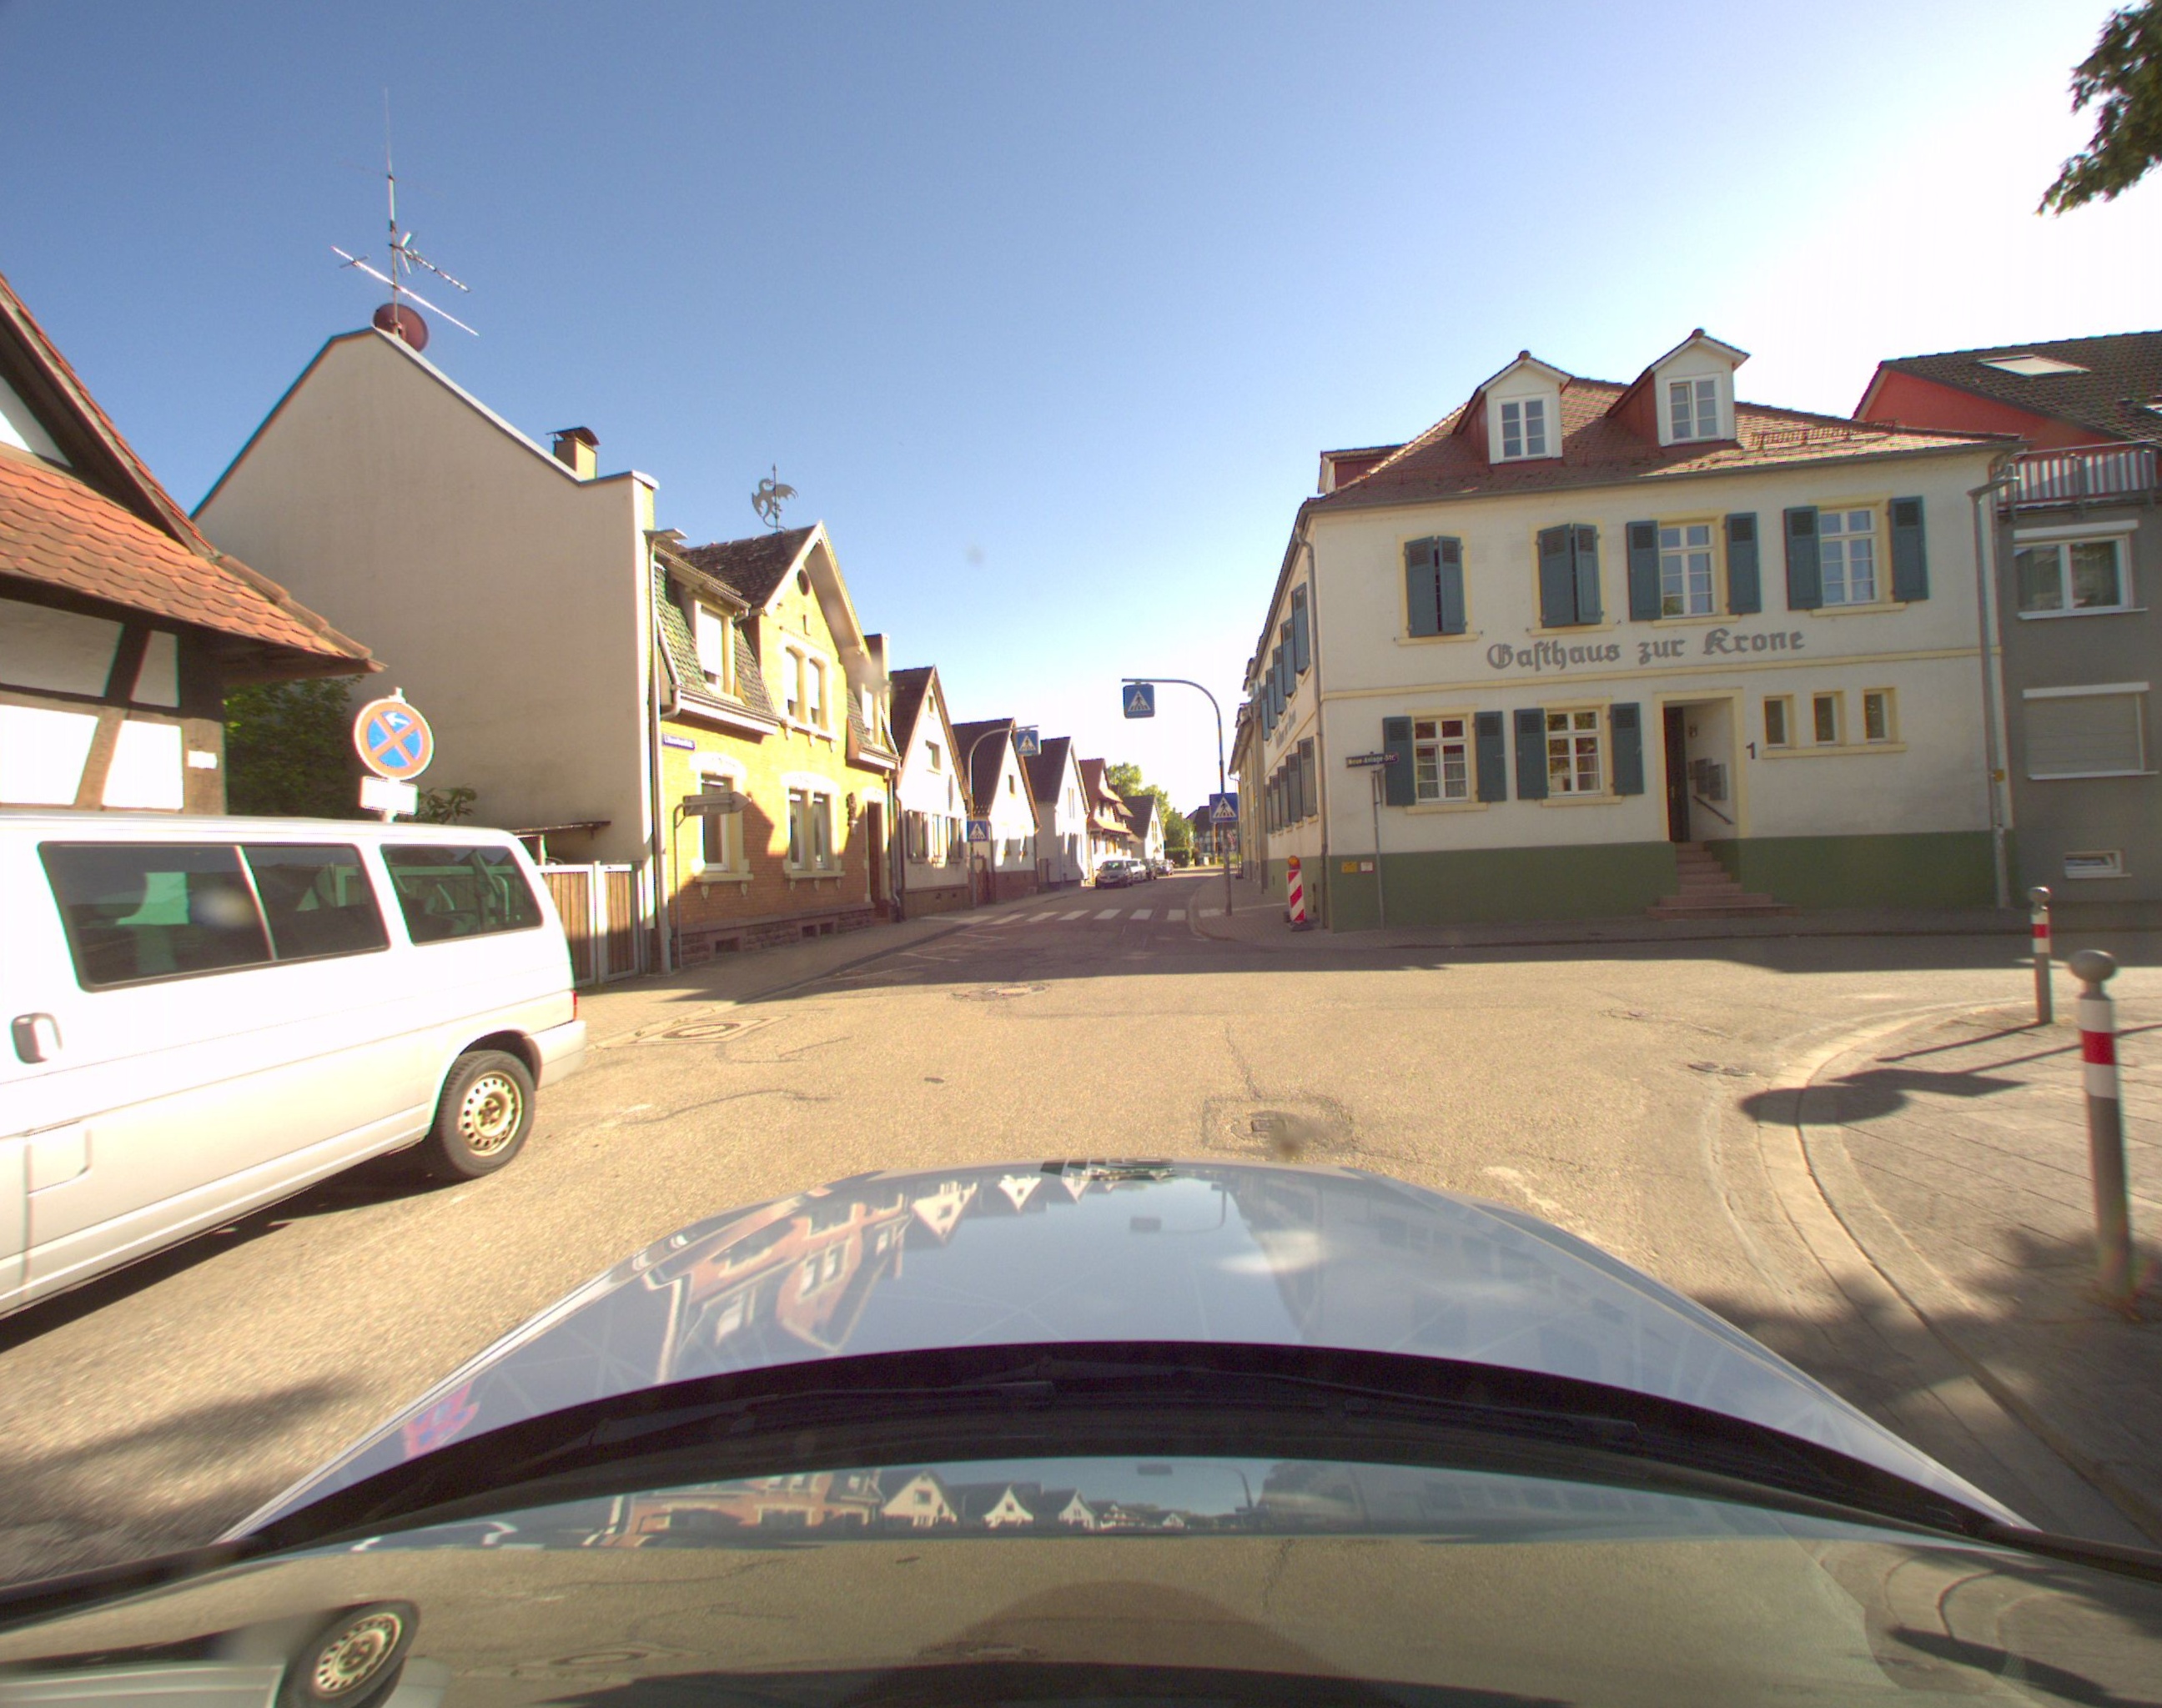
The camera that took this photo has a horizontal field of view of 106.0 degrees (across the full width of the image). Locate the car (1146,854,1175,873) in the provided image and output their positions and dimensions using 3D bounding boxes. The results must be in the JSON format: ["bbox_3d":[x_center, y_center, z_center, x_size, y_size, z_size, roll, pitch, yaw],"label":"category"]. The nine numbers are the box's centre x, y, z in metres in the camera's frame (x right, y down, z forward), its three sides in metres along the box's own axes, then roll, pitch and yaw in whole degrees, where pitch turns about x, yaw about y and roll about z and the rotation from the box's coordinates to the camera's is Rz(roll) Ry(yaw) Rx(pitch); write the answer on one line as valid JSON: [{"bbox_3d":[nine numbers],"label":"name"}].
[{"bbox_3d":[6.850,0.806,69.666,1.832,1.406,5.054,-4,-1,12],"label":"car"}]

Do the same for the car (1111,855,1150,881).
[{"bbox_3d":[3.255,0.901,52.952,1.804,1.567,4.182,-3,-1,12],"label":"car"}]

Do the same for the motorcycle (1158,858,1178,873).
[{"bbox_3d":[7.839,1.029,73.246,0.629,1.231,1.974,-3,0,-33],"label":"motorcycle"}]

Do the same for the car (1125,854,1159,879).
[{"bbox_3d":[4.428,0.852,58.444,1.771,1.605,4.376,-3,-1,12],"label":"car"}]

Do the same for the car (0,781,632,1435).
[{"bbox_3d":[-4.056,0.793,3.010,1.868,1.881,4.837,-4,-1,2],"label":"car"}]

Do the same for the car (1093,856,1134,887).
[{"bbox_3d":[1.887,0.967,45.961,1.732,1.614,4.011,-3,-1,10],"label":"car"}]
